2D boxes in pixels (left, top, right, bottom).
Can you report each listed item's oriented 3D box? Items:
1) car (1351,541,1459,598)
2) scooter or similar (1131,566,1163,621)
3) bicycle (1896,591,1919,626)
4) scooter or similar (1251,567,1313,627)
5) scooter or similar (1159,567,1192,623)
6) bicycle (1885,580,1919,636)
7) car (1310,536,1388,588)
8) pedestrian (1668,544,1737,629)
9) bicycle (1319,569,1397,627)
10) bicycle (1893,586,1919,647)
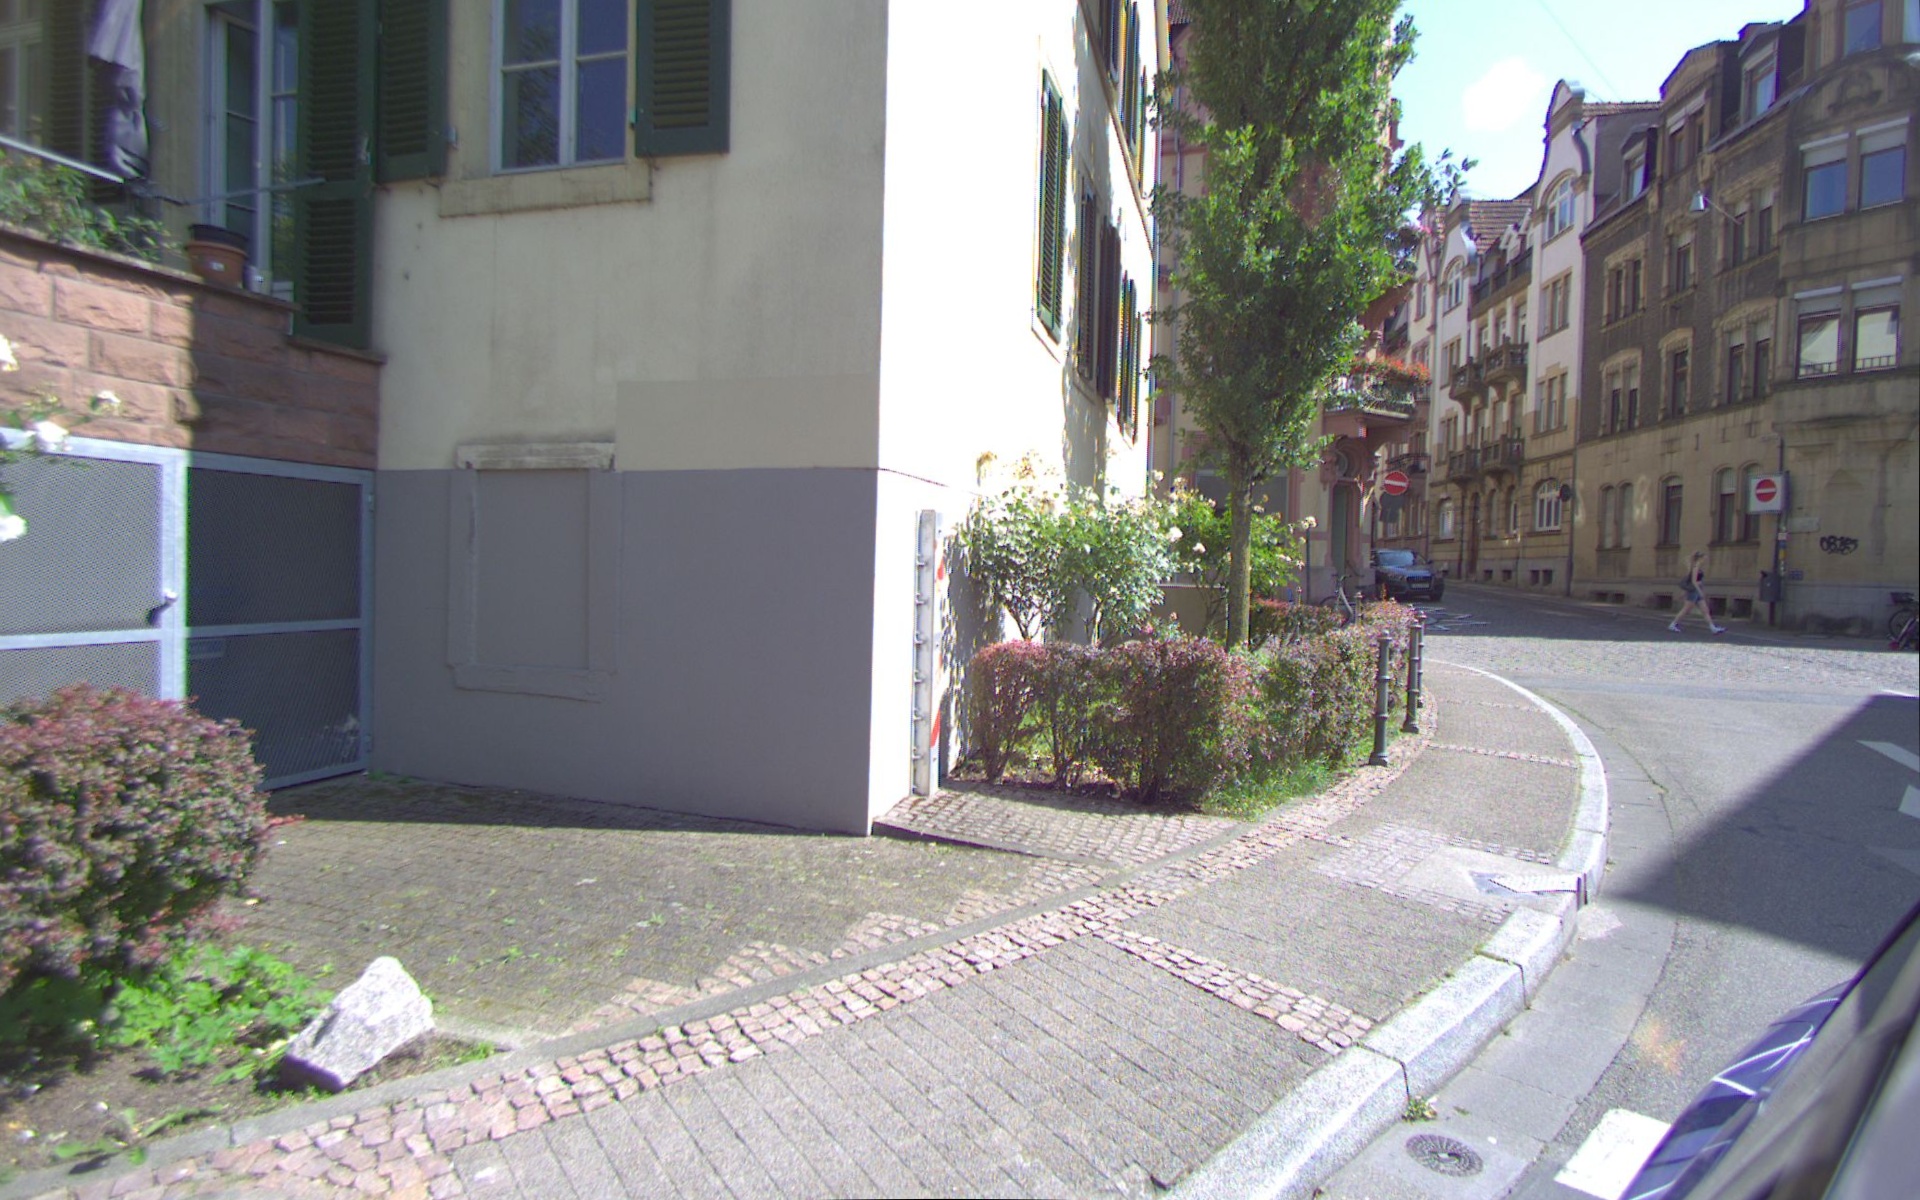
[{"bbox_3d":[13.895,-1.010,31.896,1.830,1.601,4.257,0,4,5],"label":"car"},{"bbox_3d":[4.269,-0.166,23.166,0.335,1.224,1.193,1,2,-9],"label":"scooter or similar"},{"bbox_3d":[18.991,0.370,19.253,0.285,1.081,1.641,-42,-2,6],"label":"bicycle"},{"bbox_3d":[6.962,-0.074,21.903,1.169,1.250,0.442,1,2,3],"label":"scooter or similar"},{"bbox_3d":[4.914,-0.137,23.140,0.405,1.224,1.236,1,2,-3],"label":"scooter or similar"},{"bbox_3d":[20.266,0.195,20.860,1.620,1.098,0.494,2,6,17],"label":"bicycle"},{"bbox_3d":[14.254,-1.437,37.251,1.732,1.726,3.996,-1,4,7],"label":"car"},{"bbox_3d":[16.141,-0.302,22.032,0.967,1.778,0.621,1,5,16],"label":"pedestrian"},{"bbox_3d":[8.698,-0.062,22.190,0.495,1.160,1.798,1,3,-20],"label":"bicycle"},{"bbox_3d":[18.388,0.296,19.453,0.283,1.099,1.625,-1,1,30],"label":"bicycle"}]
